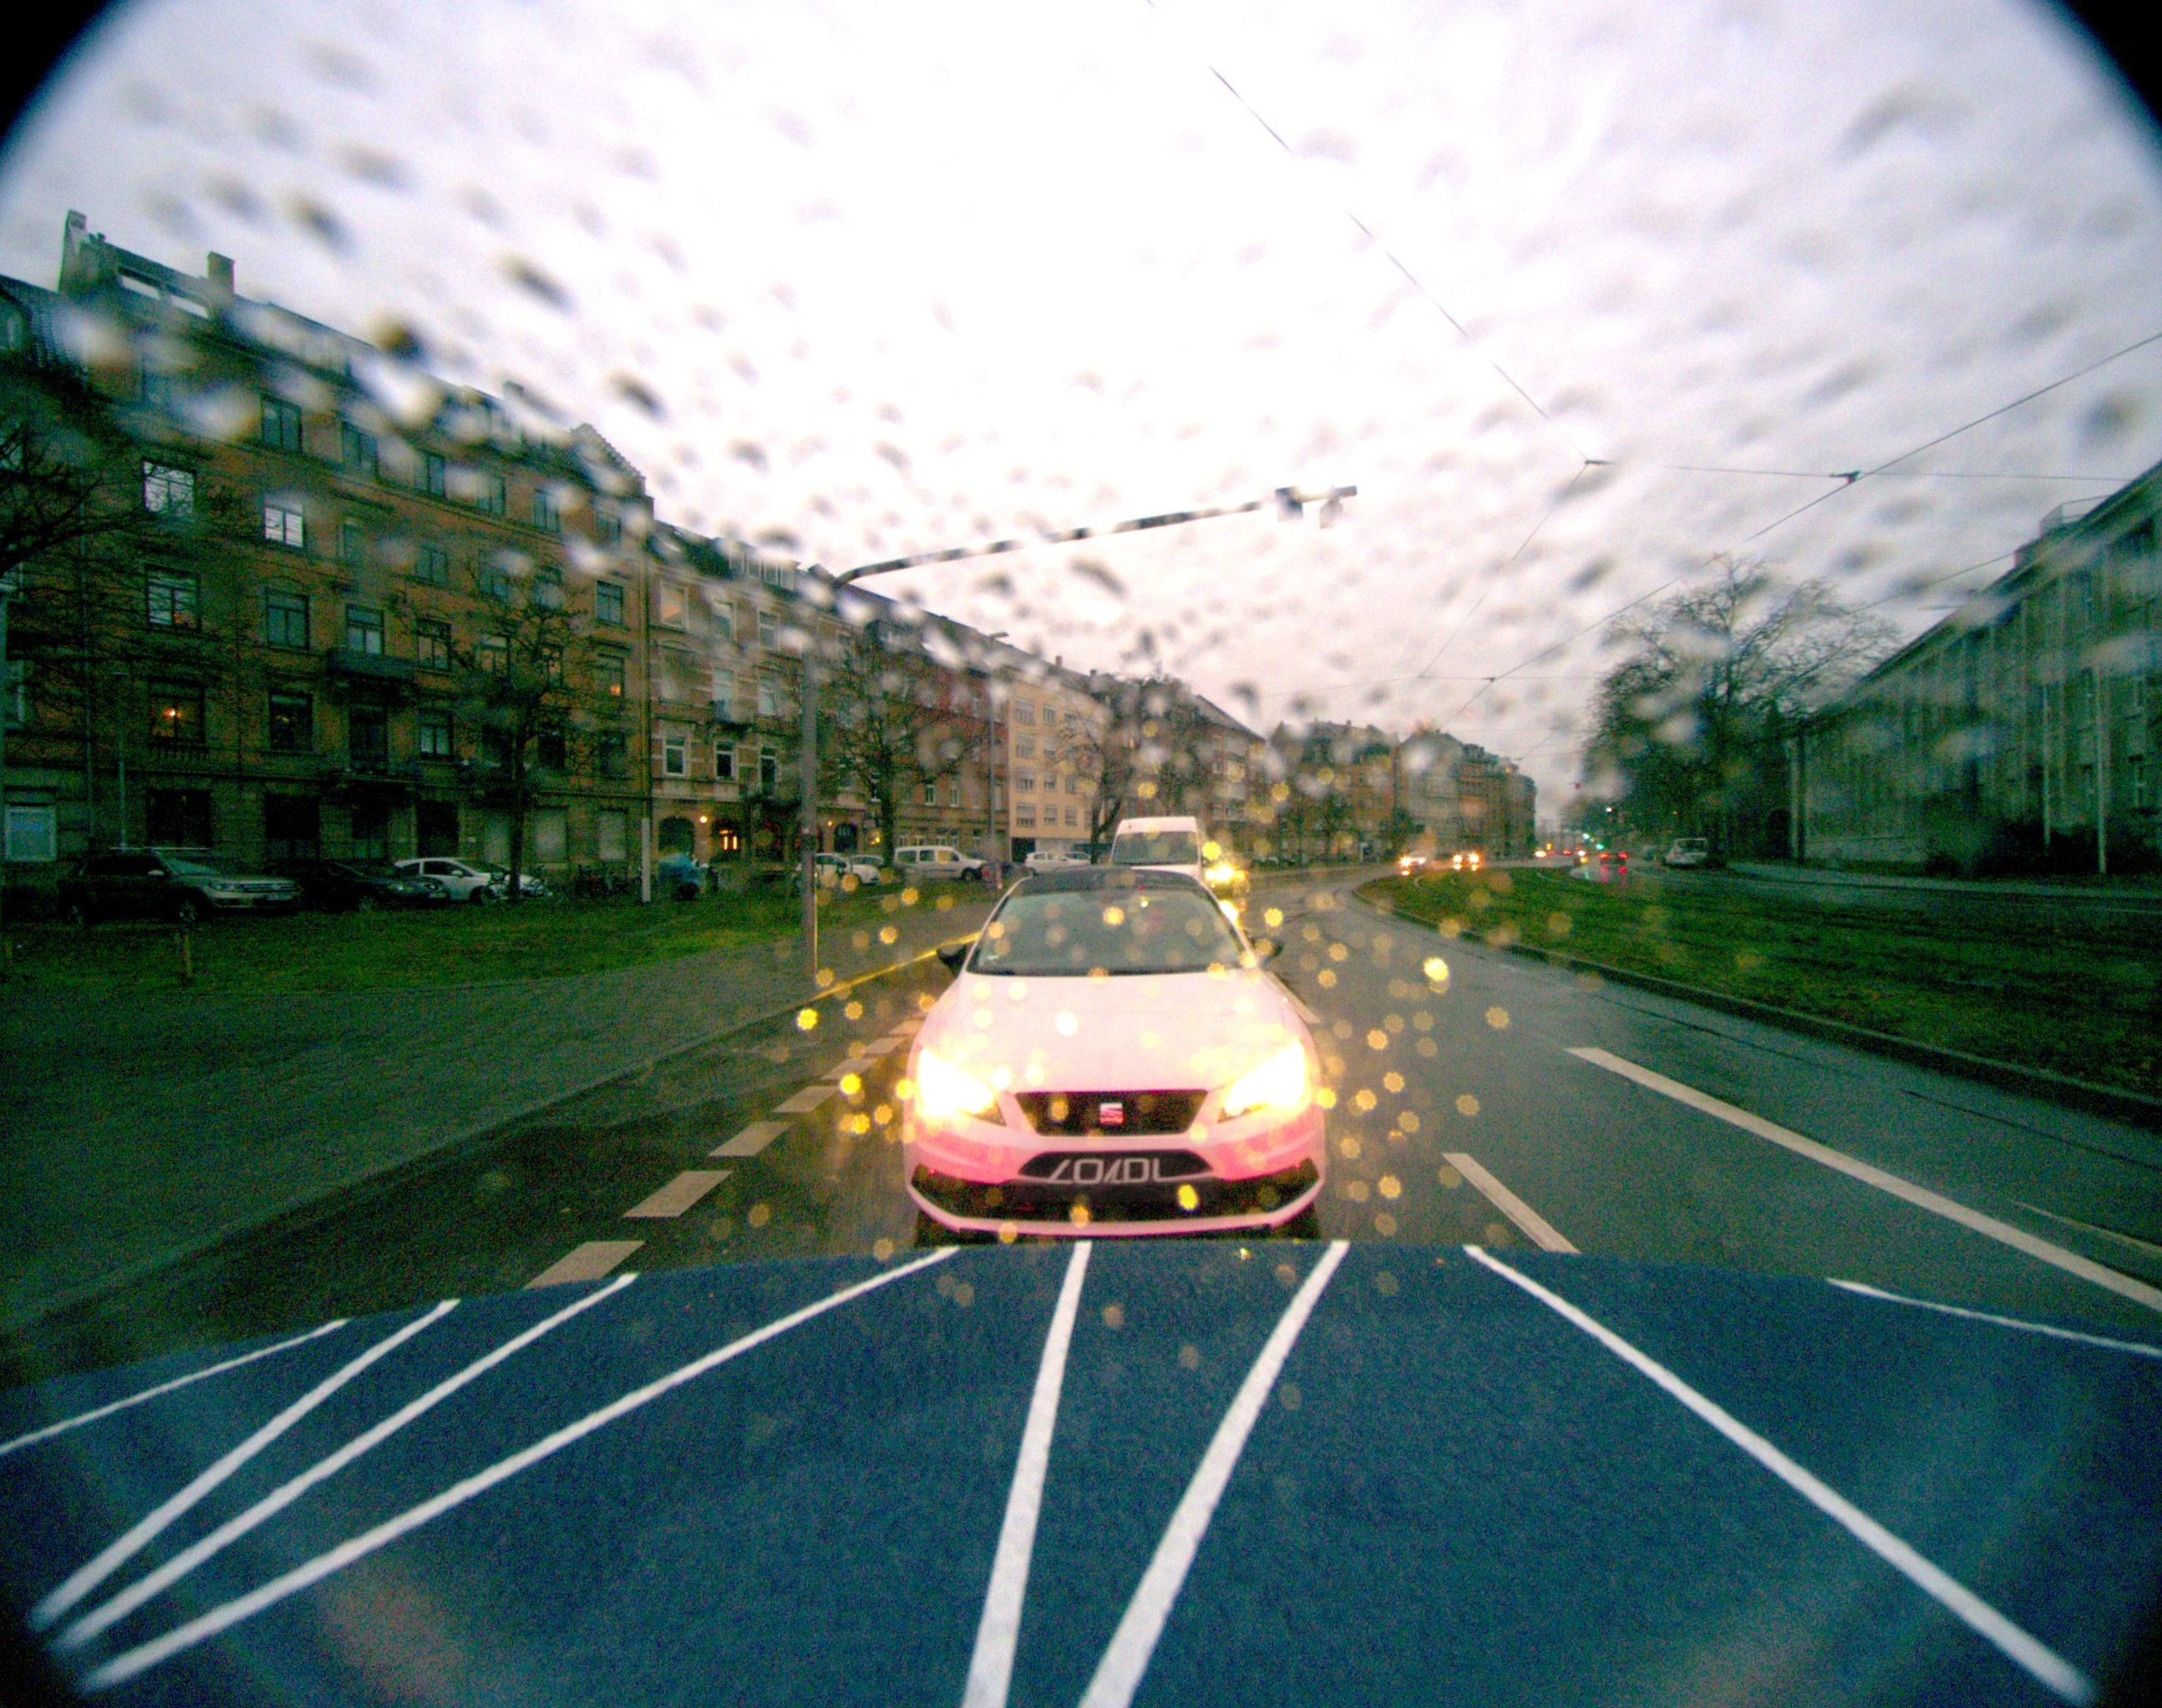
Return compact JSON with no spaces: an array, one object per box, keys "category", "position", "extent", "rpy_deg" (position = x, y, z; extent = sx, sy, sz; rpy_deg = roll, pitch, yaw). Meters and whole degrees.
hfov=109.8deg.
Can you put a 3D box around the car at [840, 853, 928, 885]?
[{"category":"car","position":[-8.800,0.665,34.130],"extent":[3.430,1.343,1.664],"rpy_deg":[-2,0,2]}]

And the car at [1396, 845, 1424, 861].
[{"category":"car","position":[33.348,-0.134,77.024],"extent":[1.718,1.608,3.947],"rpy_deg":[-1,0,37]}]

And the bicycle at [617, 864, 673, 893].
[{"category":"bicycle","position":[-15.093,0.840,26.300],"extent":[2.165,0.960,0.627],"rpy_deg":[0,1,28]}]

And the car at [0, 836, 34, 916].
[{"category":"car","position":[-29.076,0.564,17.948],"extent":[1.994,2.002,4.997],"rpy_deg":[1,1,34]}]

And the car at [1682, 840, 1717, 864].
[{"category":"car","position":[39.343,-0.111,48.410],"extent":[1.557,1.420,2.960],"rpy_deg":[-1,1,36]}]

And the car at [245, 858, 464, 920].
[{"category":"car","position":[-17.962,0.849,18.915],"extent":[3.742,1.346,1.677],"rpy_deg":[-2,-1,-2]}]

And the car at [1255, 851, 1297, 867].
[{"category":"car","position":[18.520,0.432,72.245],"extent":[3.760,1.346,1.603],"rpy_deg":[-3,0,11]}]

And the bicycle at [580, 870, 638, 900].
[{"category":"bicycle","position":[-15.831,1.052,25.470],"extent":[2.165,0.960,0.627],"rpy_deg":[-2,-2,28]}]

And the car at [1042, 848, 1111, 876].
[{"category":"car","position":[-0.269,0.467,45.810],"extent":[3.998,1.406,1.641],"rpy_deg":[-3,0,-2]}]

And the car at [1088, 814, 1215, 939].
[{"category":"car","position":[1.828,0.442,17.332],"extent":[2.127,2.366,5.644],"rpy_deg":[-1,0,13]}]

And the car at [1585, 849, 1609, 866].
[{"category":"car","position":[50.175,0.363,73.893],"extent":[1.822,1.426,4.664],"rpy_deg":[-3,0,33]}]

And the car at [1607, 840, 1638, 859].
[{"category":"car","position":[45.451,-0.399,63.740],"extent":[1.658,1.392,4.532],"rpy_deg":[-3,0,40]}]

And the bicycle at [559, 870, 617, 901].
[{"category":"bicycle","position":[-16.189,1.046,24.927],"extent":[2.165,0.960,0.627],"rpy_deg":[-2,-2,28]}]

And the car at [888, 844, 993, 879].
[{"category":"car","position":[-6.689,0.341,36.541],"extent":[4.659,1.583,1.778],"rpy_deg":[1,1,3]}]

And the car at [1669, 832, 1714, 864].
[{"category":"car","position":[41.873,-0.465,52.204],"extent":[1.995,2.002,4.518],"rpy_deg":[-3,0,35]}]

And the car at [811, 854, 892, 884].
[{"category":"car","position":[-12.634,0.809,41.983],"extent":[1.733,1.492,4.058],"rpy_deg":[-3,-1,32]}]

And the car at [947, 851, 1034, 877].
[{"category":"car","position":[-4.586,0.508,38.697],"extent":[4.058,1.227,1.771],"rpy_deg":[1,0,6]}]

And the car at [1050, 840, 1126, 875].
[{"category":"car","position":[0.418,0.218,48.535],"extent":[4.720,1.971,1.799],"rpy_deg":[-2,0,-2]}]

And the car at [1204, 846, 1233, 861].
[{"category":"car","position":[14.561,-0.041,80.406],"extent":[1.470,1.534,3.880],"rpy_deg":[0,1,38]}]

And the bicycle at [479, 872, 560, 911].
[{"category":"bicycle","position":[-14.423,0.944,19.570],"extent":[1.655,0.931,0.513],"rpy_deg":[0,0,-35]}]

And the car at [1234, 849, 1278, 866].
[{"category":"car","position":[15.858,0.308,69.068],"extent":[3.760,1.346,1.603],"rpy_deg":[-3,0,11]}]

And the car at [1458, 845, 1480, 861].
[{"category":"car","position":[38.638,-0.095,75.618],"extent":[1.836,1.477,3.528],"rpy_deg":[-1,0,28]}]

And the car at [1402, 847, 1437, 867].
[{"category":"car","position":[25.405,0.205,56.962],"extent":[1.892,1.405,3.954],"rpy_deg":[-1,0,31]}]

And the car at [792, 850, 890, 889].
[{"category":"car","position":[-9.971,0.646,31.699],"extent":[3.462,1.435,1.615],"rpy_deg":[-2,0,6]}]

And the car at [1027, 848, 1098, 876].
[{"category":"car","position":[-1.033,0.457,43.728],"extent":[3.770,1.424,1.762],"rpy_deg":[-3,0,9]}]

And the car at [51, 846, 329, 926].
[{"category":"car","position":[-19.539,0.658,16.798],"extent":[3.996,1.627,1.944],"rpy_deg":[0,1,4]}]

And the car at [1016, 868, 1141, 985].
[{"category":"car","position":[0.076,0.963,11.292],"extent":[1.589,1.418,3.135],"rpy_deg":[-1,0,4]}]

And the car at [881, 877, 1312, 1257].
[{"category":"car","position":[0.167,0.953,4.981],"extent":[1.714,1.404,3.680],"rpy_deg":[-3,0,4]}]

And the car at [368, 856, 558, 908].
[{"category":"car","position":[-17.144,0.744,21.216],"extent":[3.856,1.329,1.698],"rpy_deg":[-1,0,-1]}]
